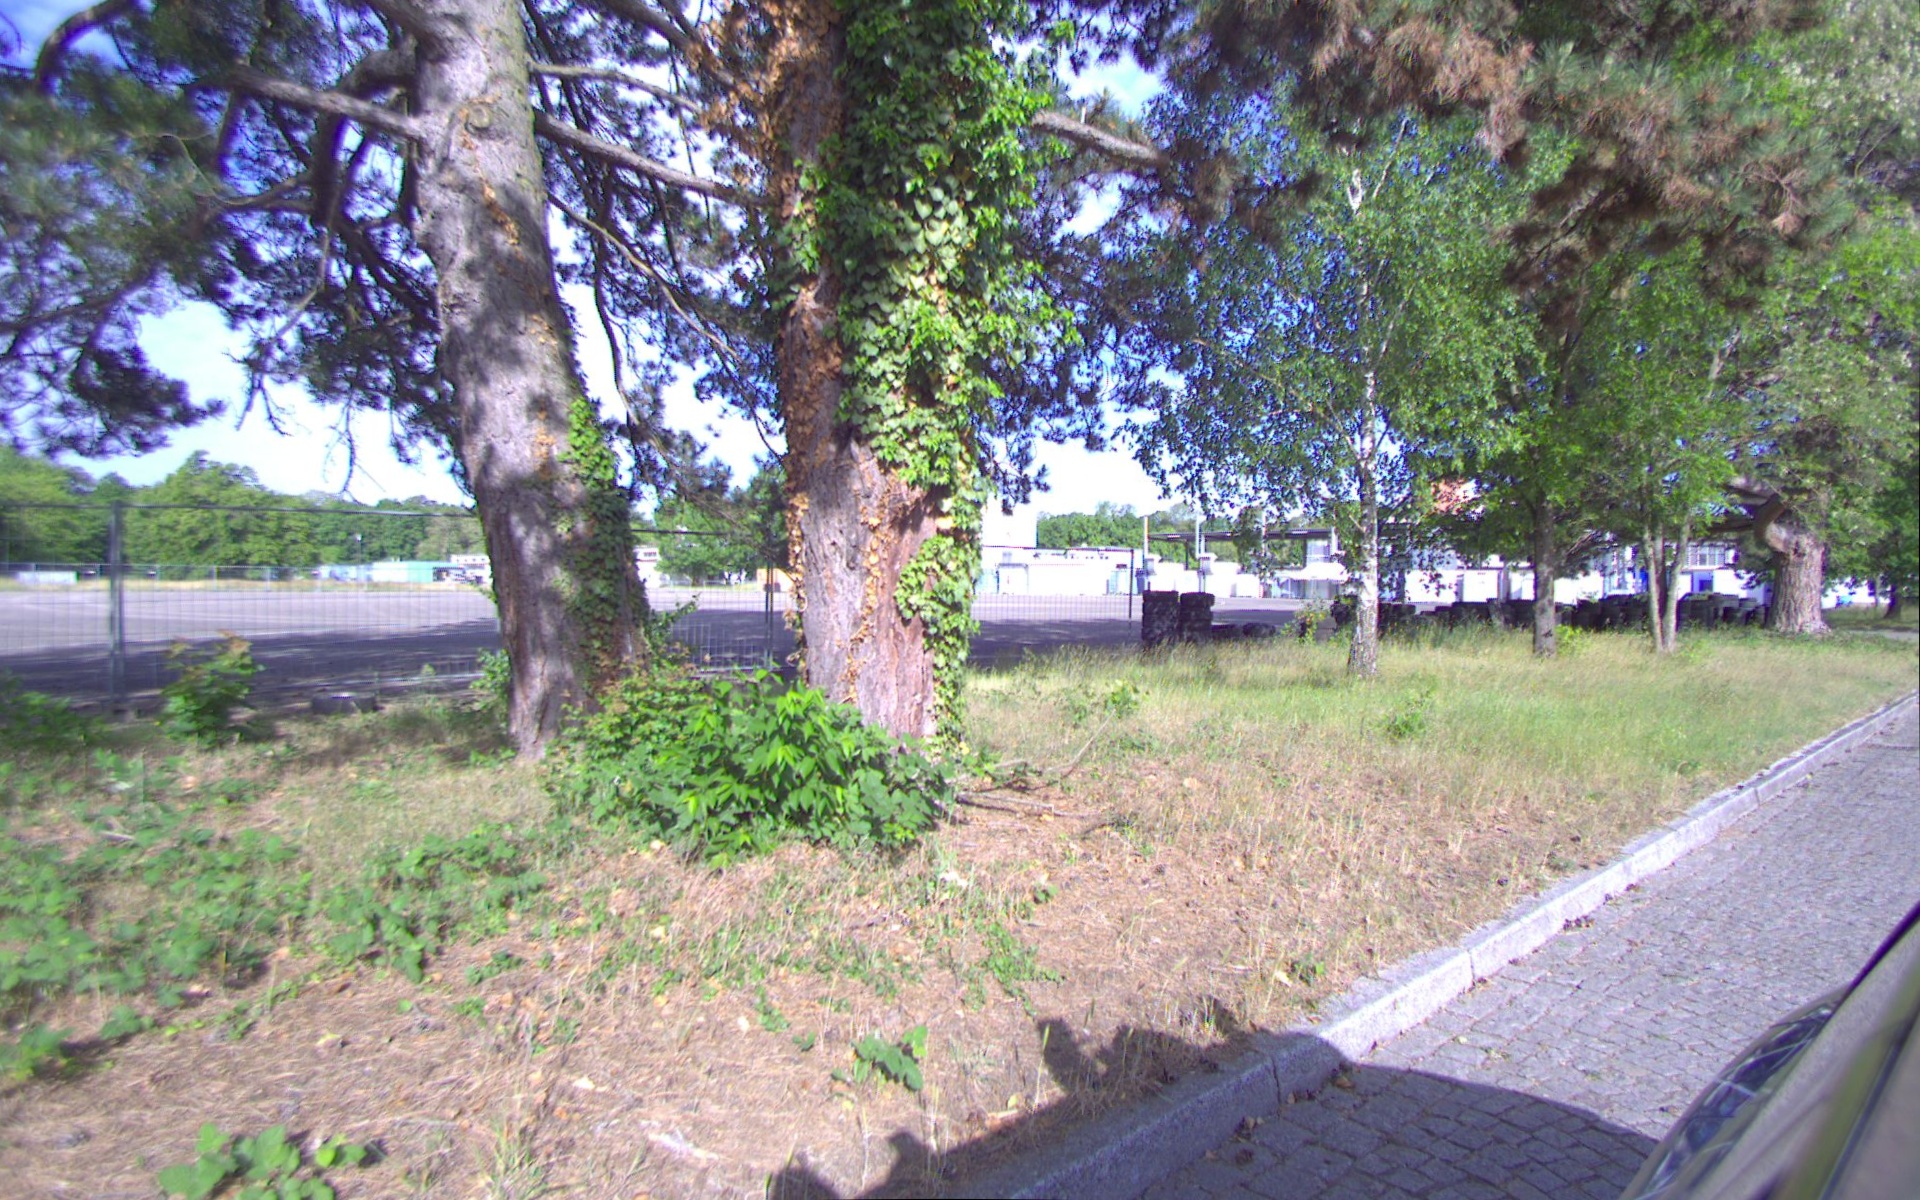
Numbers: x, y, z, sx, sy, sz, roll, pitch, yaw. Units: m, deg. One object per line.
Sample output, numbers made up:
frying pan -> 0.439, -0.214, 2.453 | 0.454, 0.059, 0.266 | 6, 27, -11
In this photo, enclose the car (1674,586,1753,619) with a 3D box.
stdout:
car -> 35.027, 0.099, 47.029 | 3.924, 1.467, 1.848 | 0, 1, -36
